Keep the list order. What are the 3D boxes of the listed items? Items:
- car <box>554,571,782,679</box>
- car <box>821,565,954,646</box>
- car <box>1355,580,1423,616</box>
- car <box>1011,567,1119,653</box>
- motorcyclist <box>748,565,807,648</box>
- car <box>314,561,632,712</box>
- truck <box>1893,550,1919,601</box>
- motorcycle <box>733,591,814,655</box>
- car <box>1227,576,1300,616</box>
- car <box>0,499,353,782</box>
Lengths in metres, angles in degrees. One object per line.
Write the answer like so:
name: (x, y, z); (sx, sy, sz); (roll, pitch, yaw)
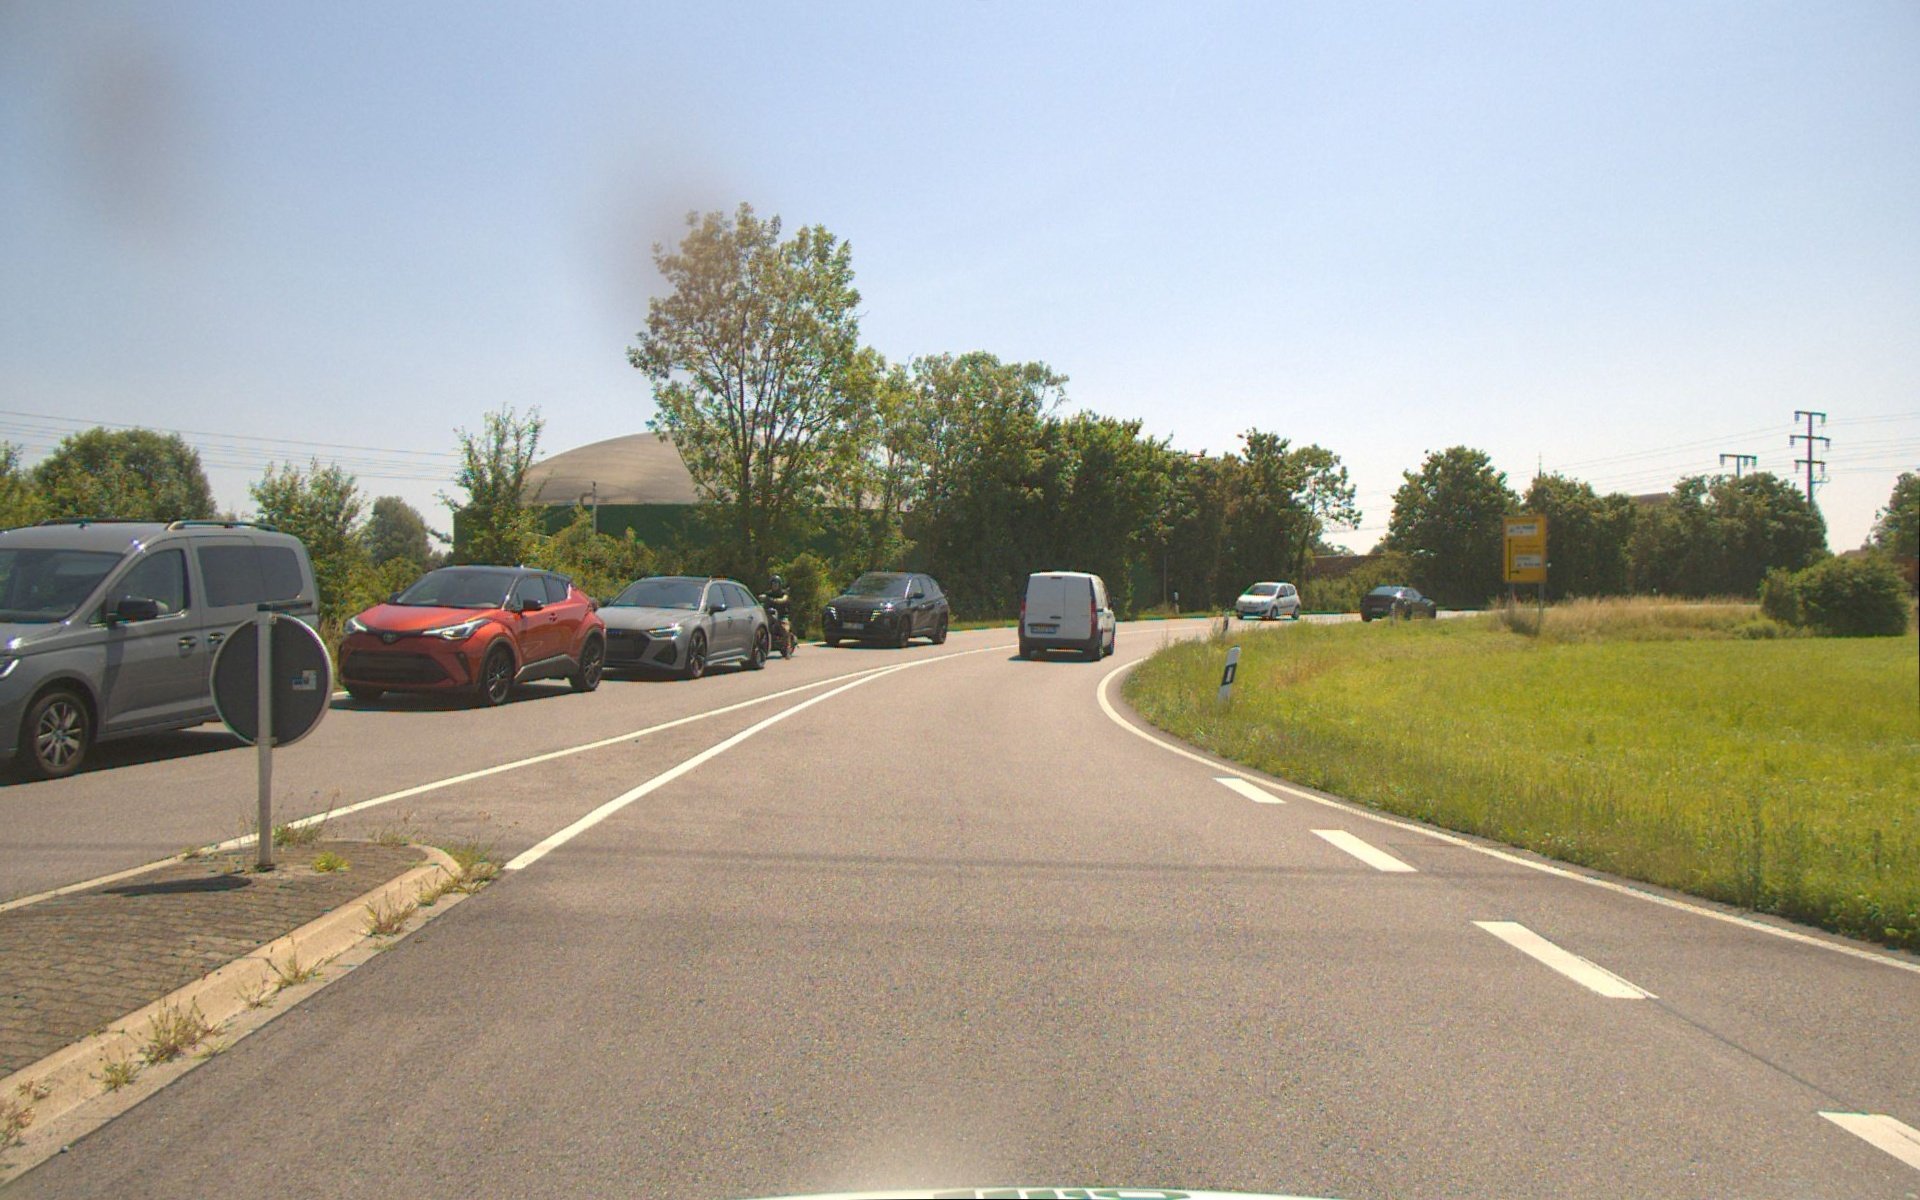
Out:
car: (-4.404, 0.363, 25.780); (1.802, 1.485, 4.813); (1, 0, 12)
car: (-1.586, 0.091, 37.725); (1.666, 1.666, 4.252); (2, 1, 17)
car: (17.855, -0.082, 68.716); (1.688, 1.445, 3.735); (0, 0, 33)
car: (2.324, 0.212, 35.683); (1.863, 1.763, 3.825); (0, 0, 11)
motorcyclist: (-3.429, 0.121, 31.177); (0.764, 1.521, 1.132); (1, 0, 12)
car: (-5.684, 0.344, 19.932); (1.760, 1.541, 4.396); (2, 1, 12)
truck: (65.376, -1.460, 108.094); (8.659, 3.192, 3.085); (2, 0, -25)
motorcycle: (-3.477, 0.413, 31.097); (0.765, 1.143, 2.432); (2, 0, 12)
car: (12.379, -0.146, 67.296); (1.511, 1.468, 3.594); (3, 1, 35)
car: (-6.844, 0.273, 12.885); (1.885, 1.864, 4.442); (0, 0, 12)
